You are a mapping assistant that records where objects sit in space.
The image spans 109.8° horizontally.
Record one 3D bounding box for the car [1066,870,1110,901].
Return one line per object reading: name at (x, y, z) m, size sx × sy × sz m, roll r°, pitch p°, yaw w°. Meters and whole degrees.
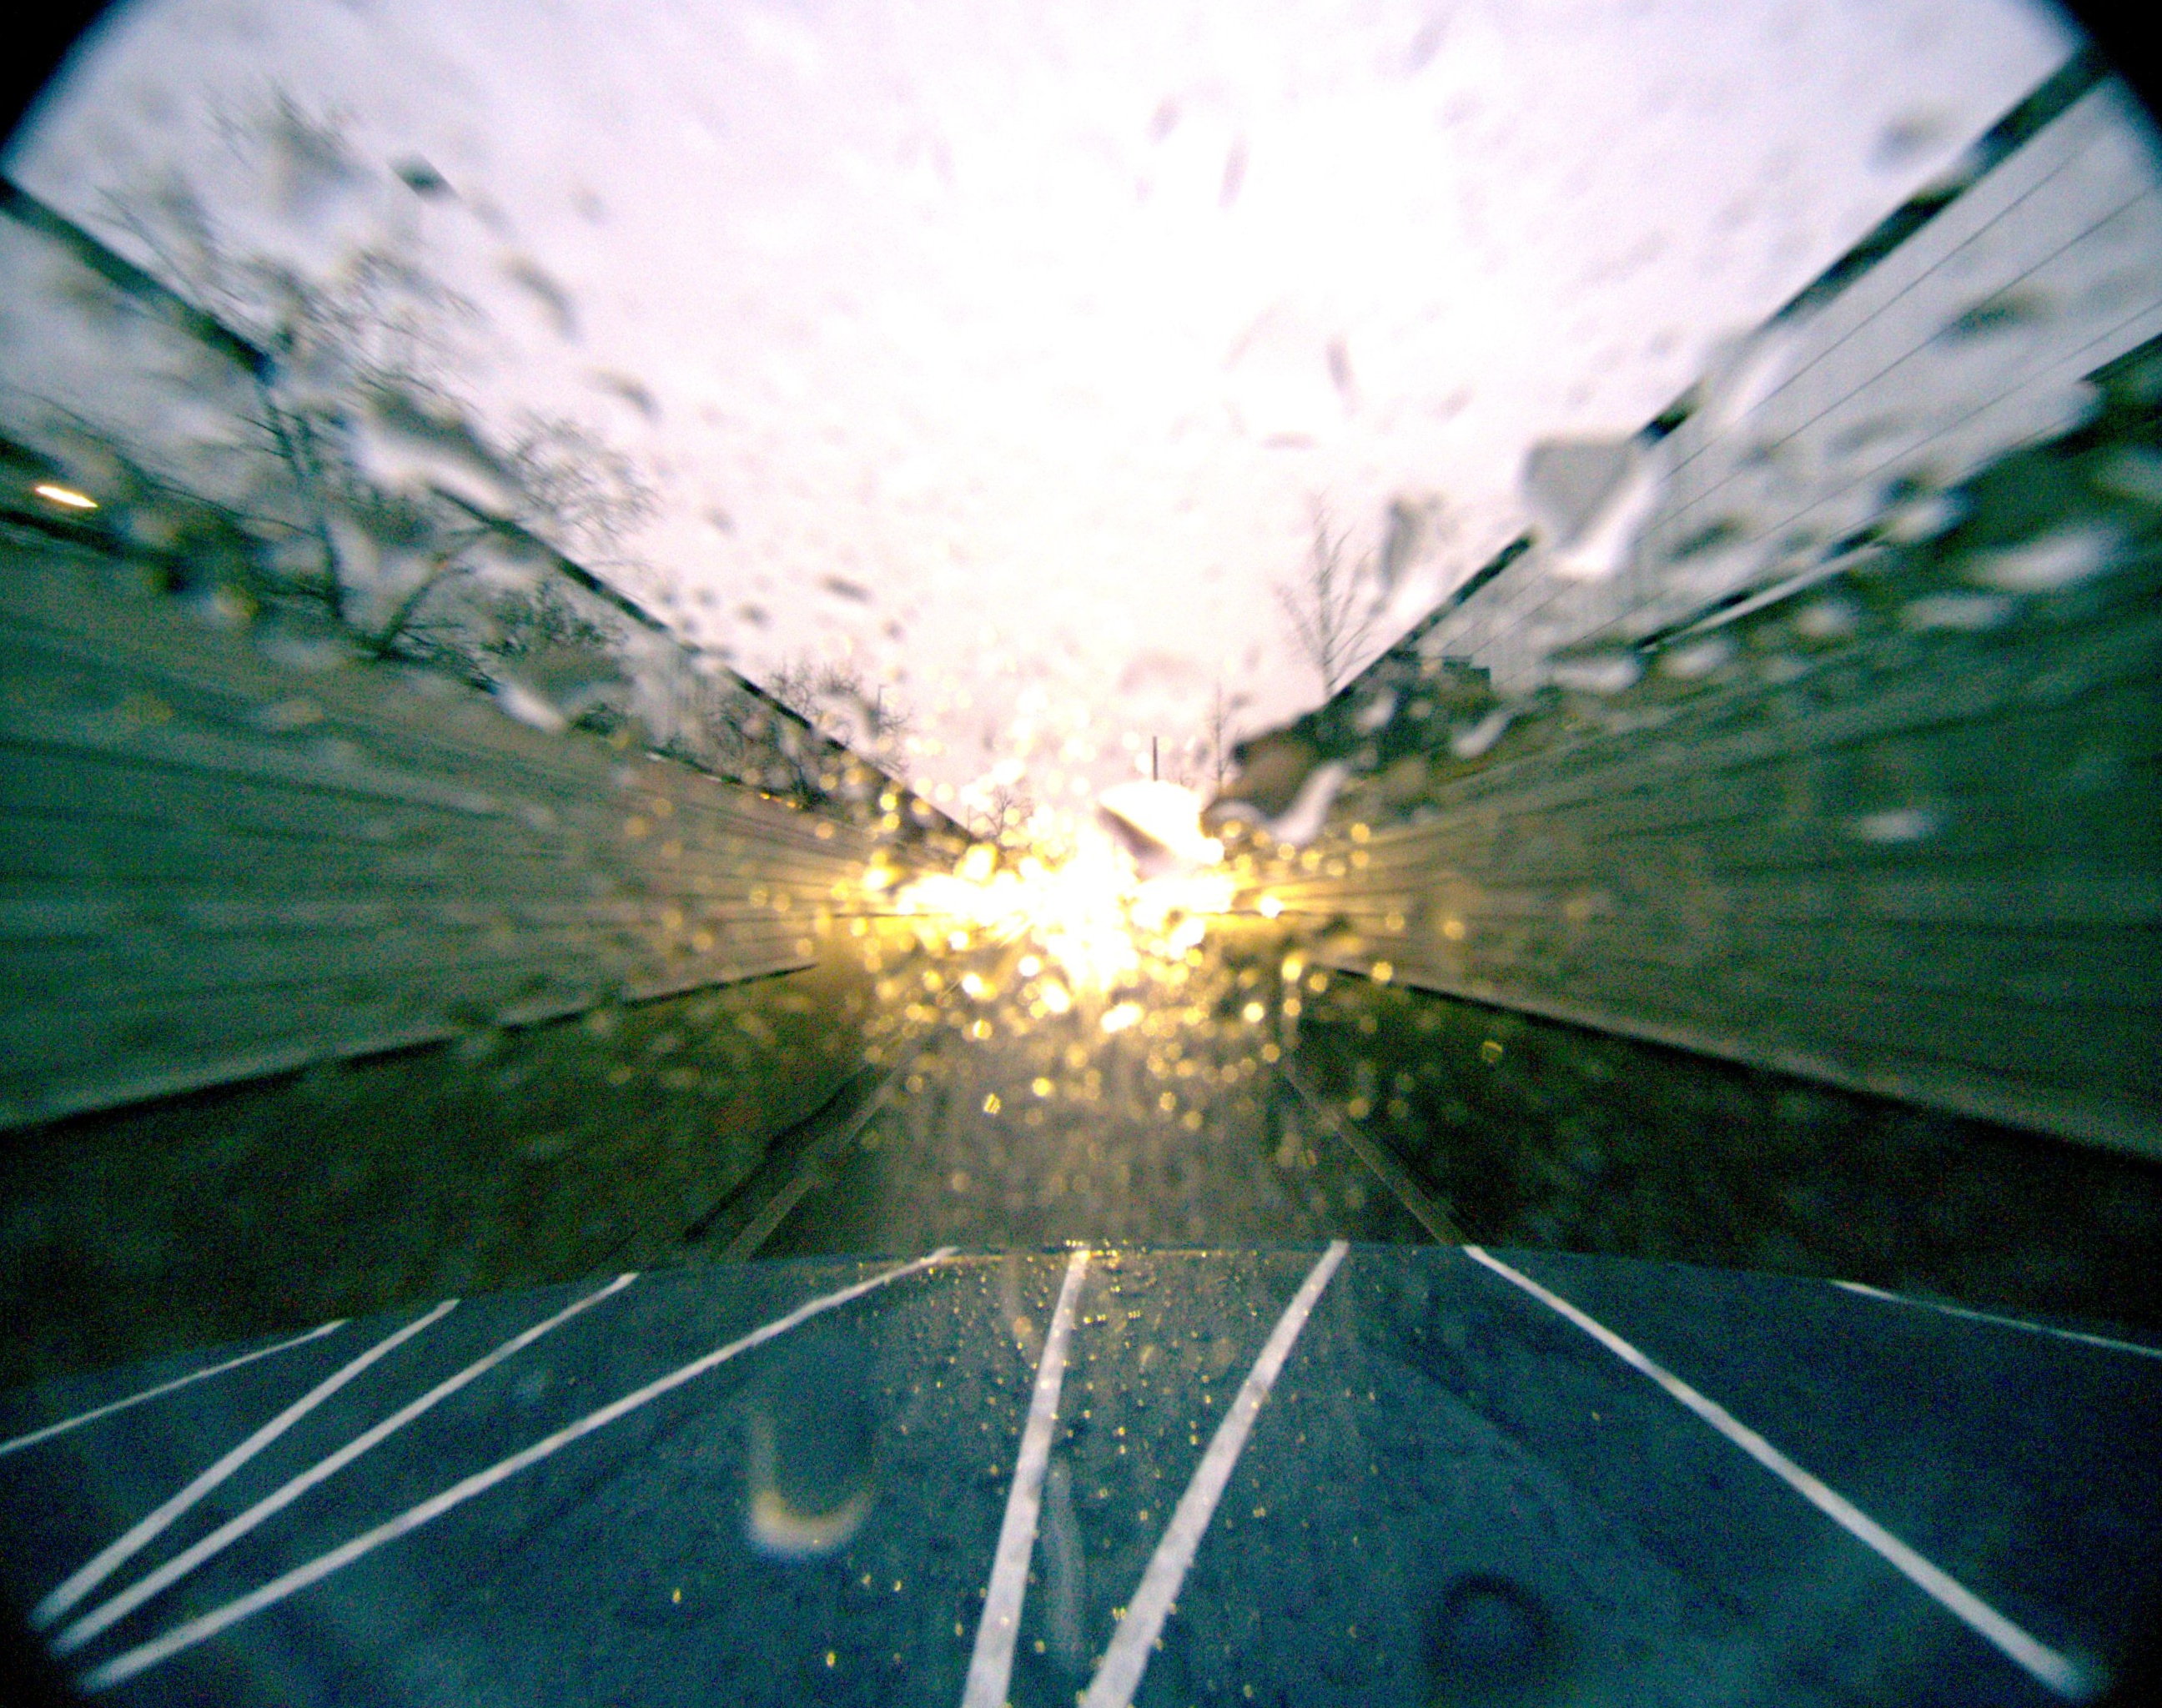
car at (0.406, 1.661, 39.459) m, size 2.160 × 1.488 × 4.010 m, roll -1°, pitch -3°, yaw 2°
